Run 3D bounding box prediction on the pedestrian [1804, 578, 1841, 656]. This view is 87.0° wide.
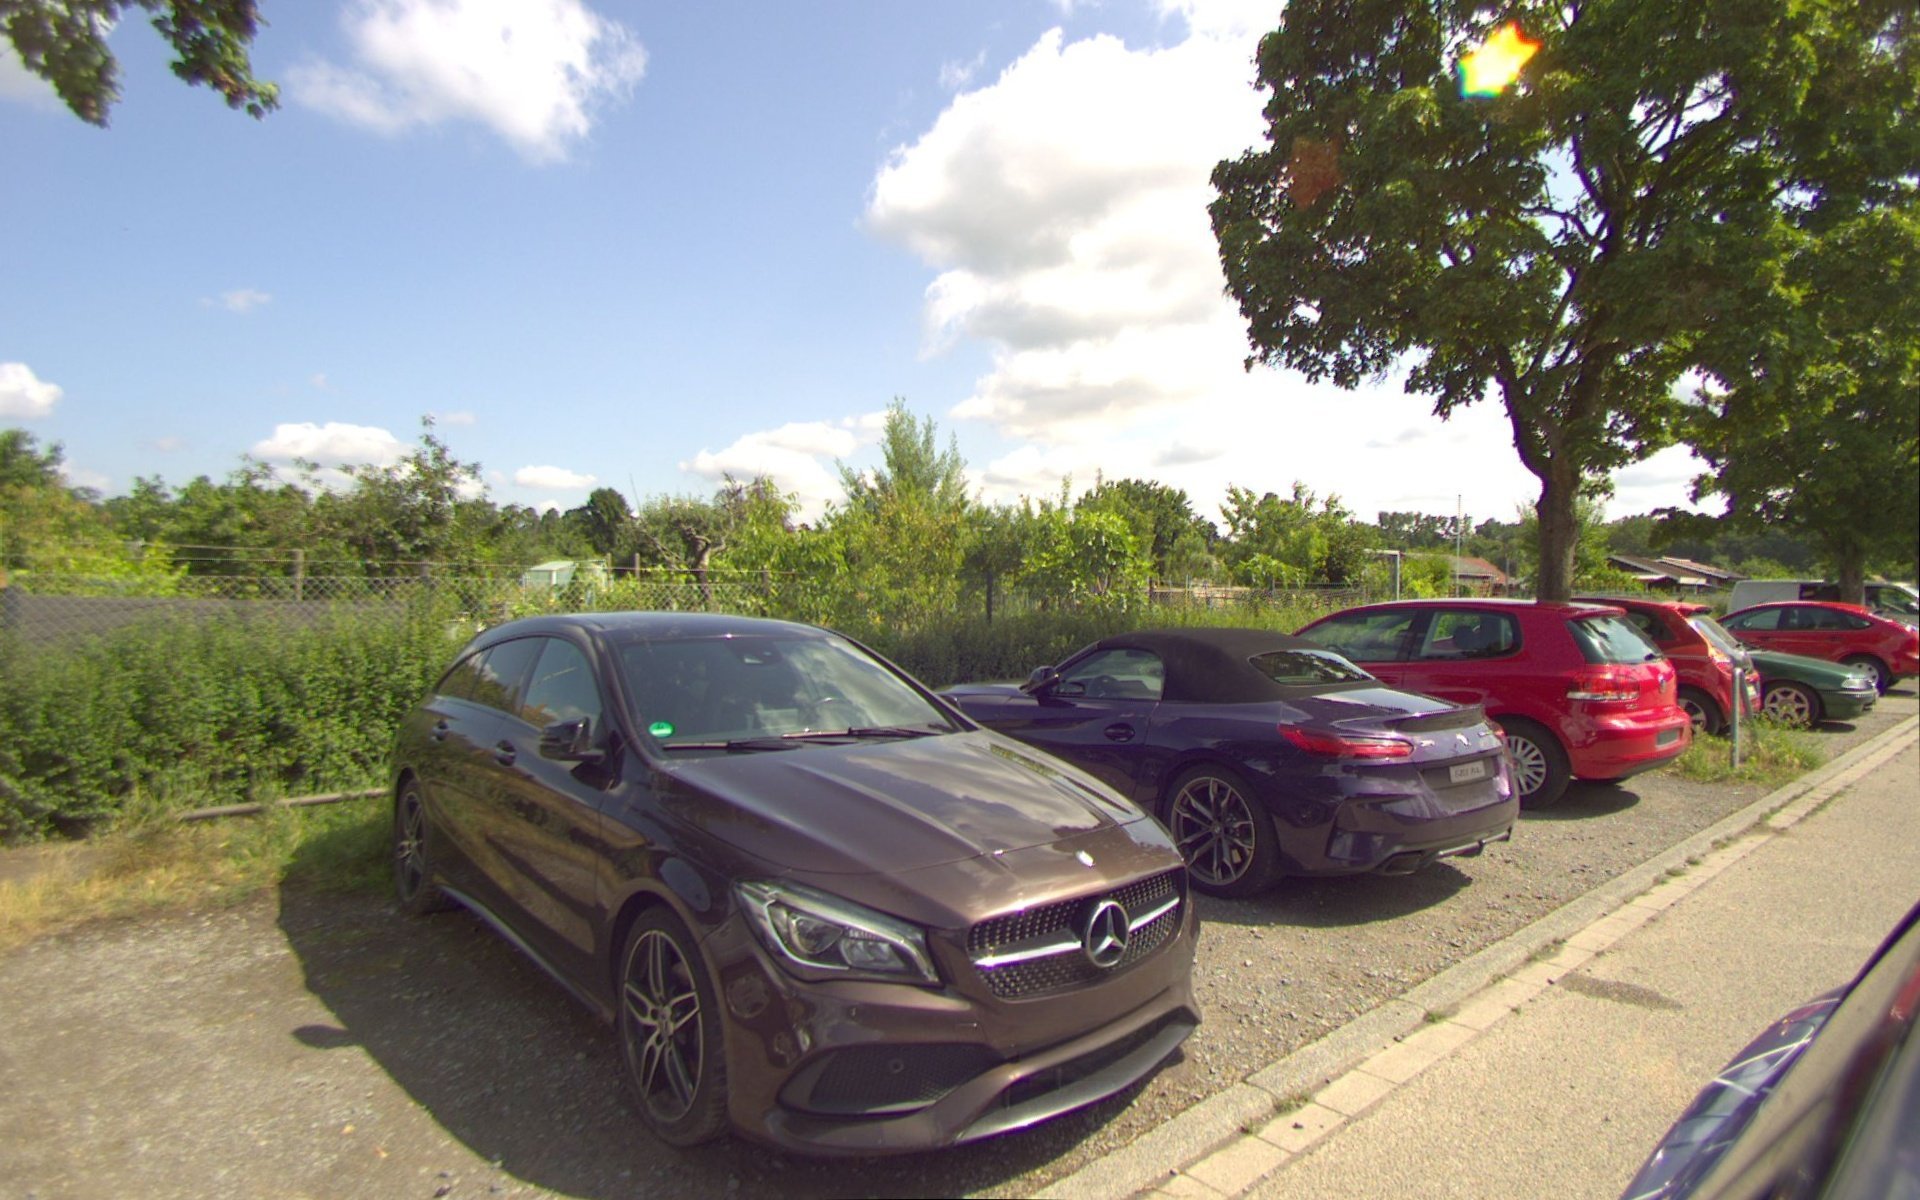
[{"bbox_3d":[19.332,0.374,22.688,0.465,1.694,0.524,-1,3,-39],"label":"pedestrian"}]

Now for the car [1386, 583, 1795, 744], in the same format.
[{"bbox_3d":[7.358,0.627,12.083,1.837,1.593,3.770,0,0,-40],"label":"car"}]

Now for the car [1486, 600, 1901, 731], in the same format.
[{"bbox_3d":[9.630,0.744,13.534,1.877,1.446,4.242,-1,0,-44],"label":"car"}]

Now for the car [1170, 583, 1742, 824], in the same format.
[{"bbox_3d":[3.933,0.658,8.633,1.820,1.539,3.998,0,0,-36],"label":"car"}]

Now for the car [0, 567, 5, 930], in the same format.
[{"bbox_3d":[-3.681,0.633,2.169,1.921,1.530,4.075,0,0,-37],"label":"car"}]

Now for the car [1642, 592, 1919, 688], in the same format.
[{"bbox_3d":[14.987,0.643,18.187,1.844,1.523,4.192,0,0,-39],"label":"car"}]

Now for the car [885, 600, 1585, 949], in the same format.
[{"bbox_3d":[1.396,0.732,6.393,1.921,1.441,3.921,-1,0,-37],"label":"car"}]

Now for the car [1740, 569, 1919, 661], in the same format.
[{"bbox_3d":[20.817,0.312,22.930,2.075,1.910,4.642,0,2,-41],"label":"car"}]

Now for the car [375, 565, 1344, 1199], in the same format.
[{"bbox_3d":[-0.834,0.668,4.072,1.838,1.474,4.070,0,0,-42],"label":"car"}]

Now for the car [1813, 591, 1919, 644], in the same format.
[{"bbox_3d":[27.867,0.514,29.355,1.966,1.484,4.583,0,1,-43],"label":"car"}]
